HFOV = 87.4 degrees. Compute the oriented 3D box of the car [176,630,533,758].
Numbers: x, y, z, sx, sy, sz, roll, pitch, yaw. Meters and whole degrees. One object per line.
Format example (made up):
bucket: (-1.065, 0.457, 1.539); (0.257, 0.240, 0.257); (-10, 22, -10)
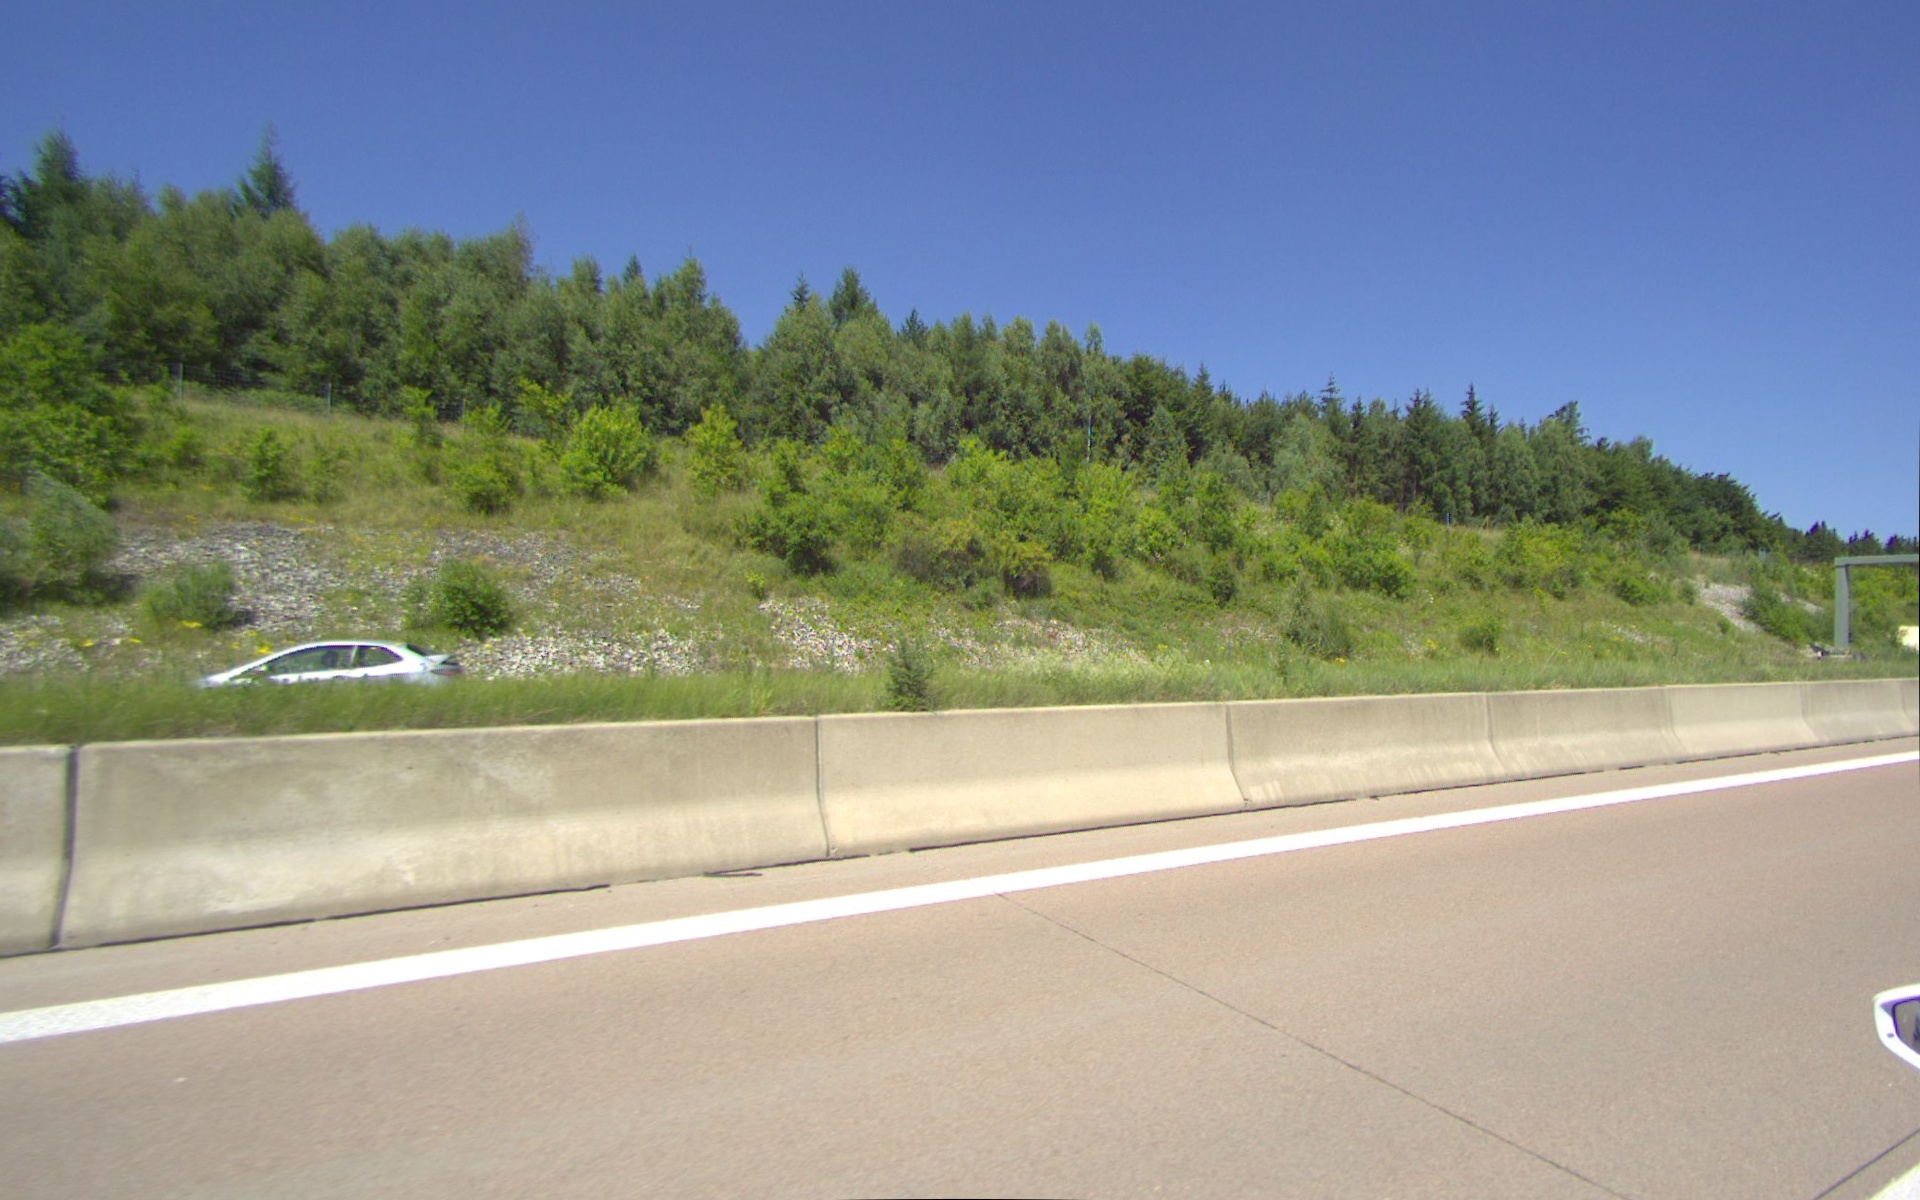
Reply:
car: (-9.405, 1.367, 15.954); (4.612, 1.674, 1.880); (0, 0, -33)
